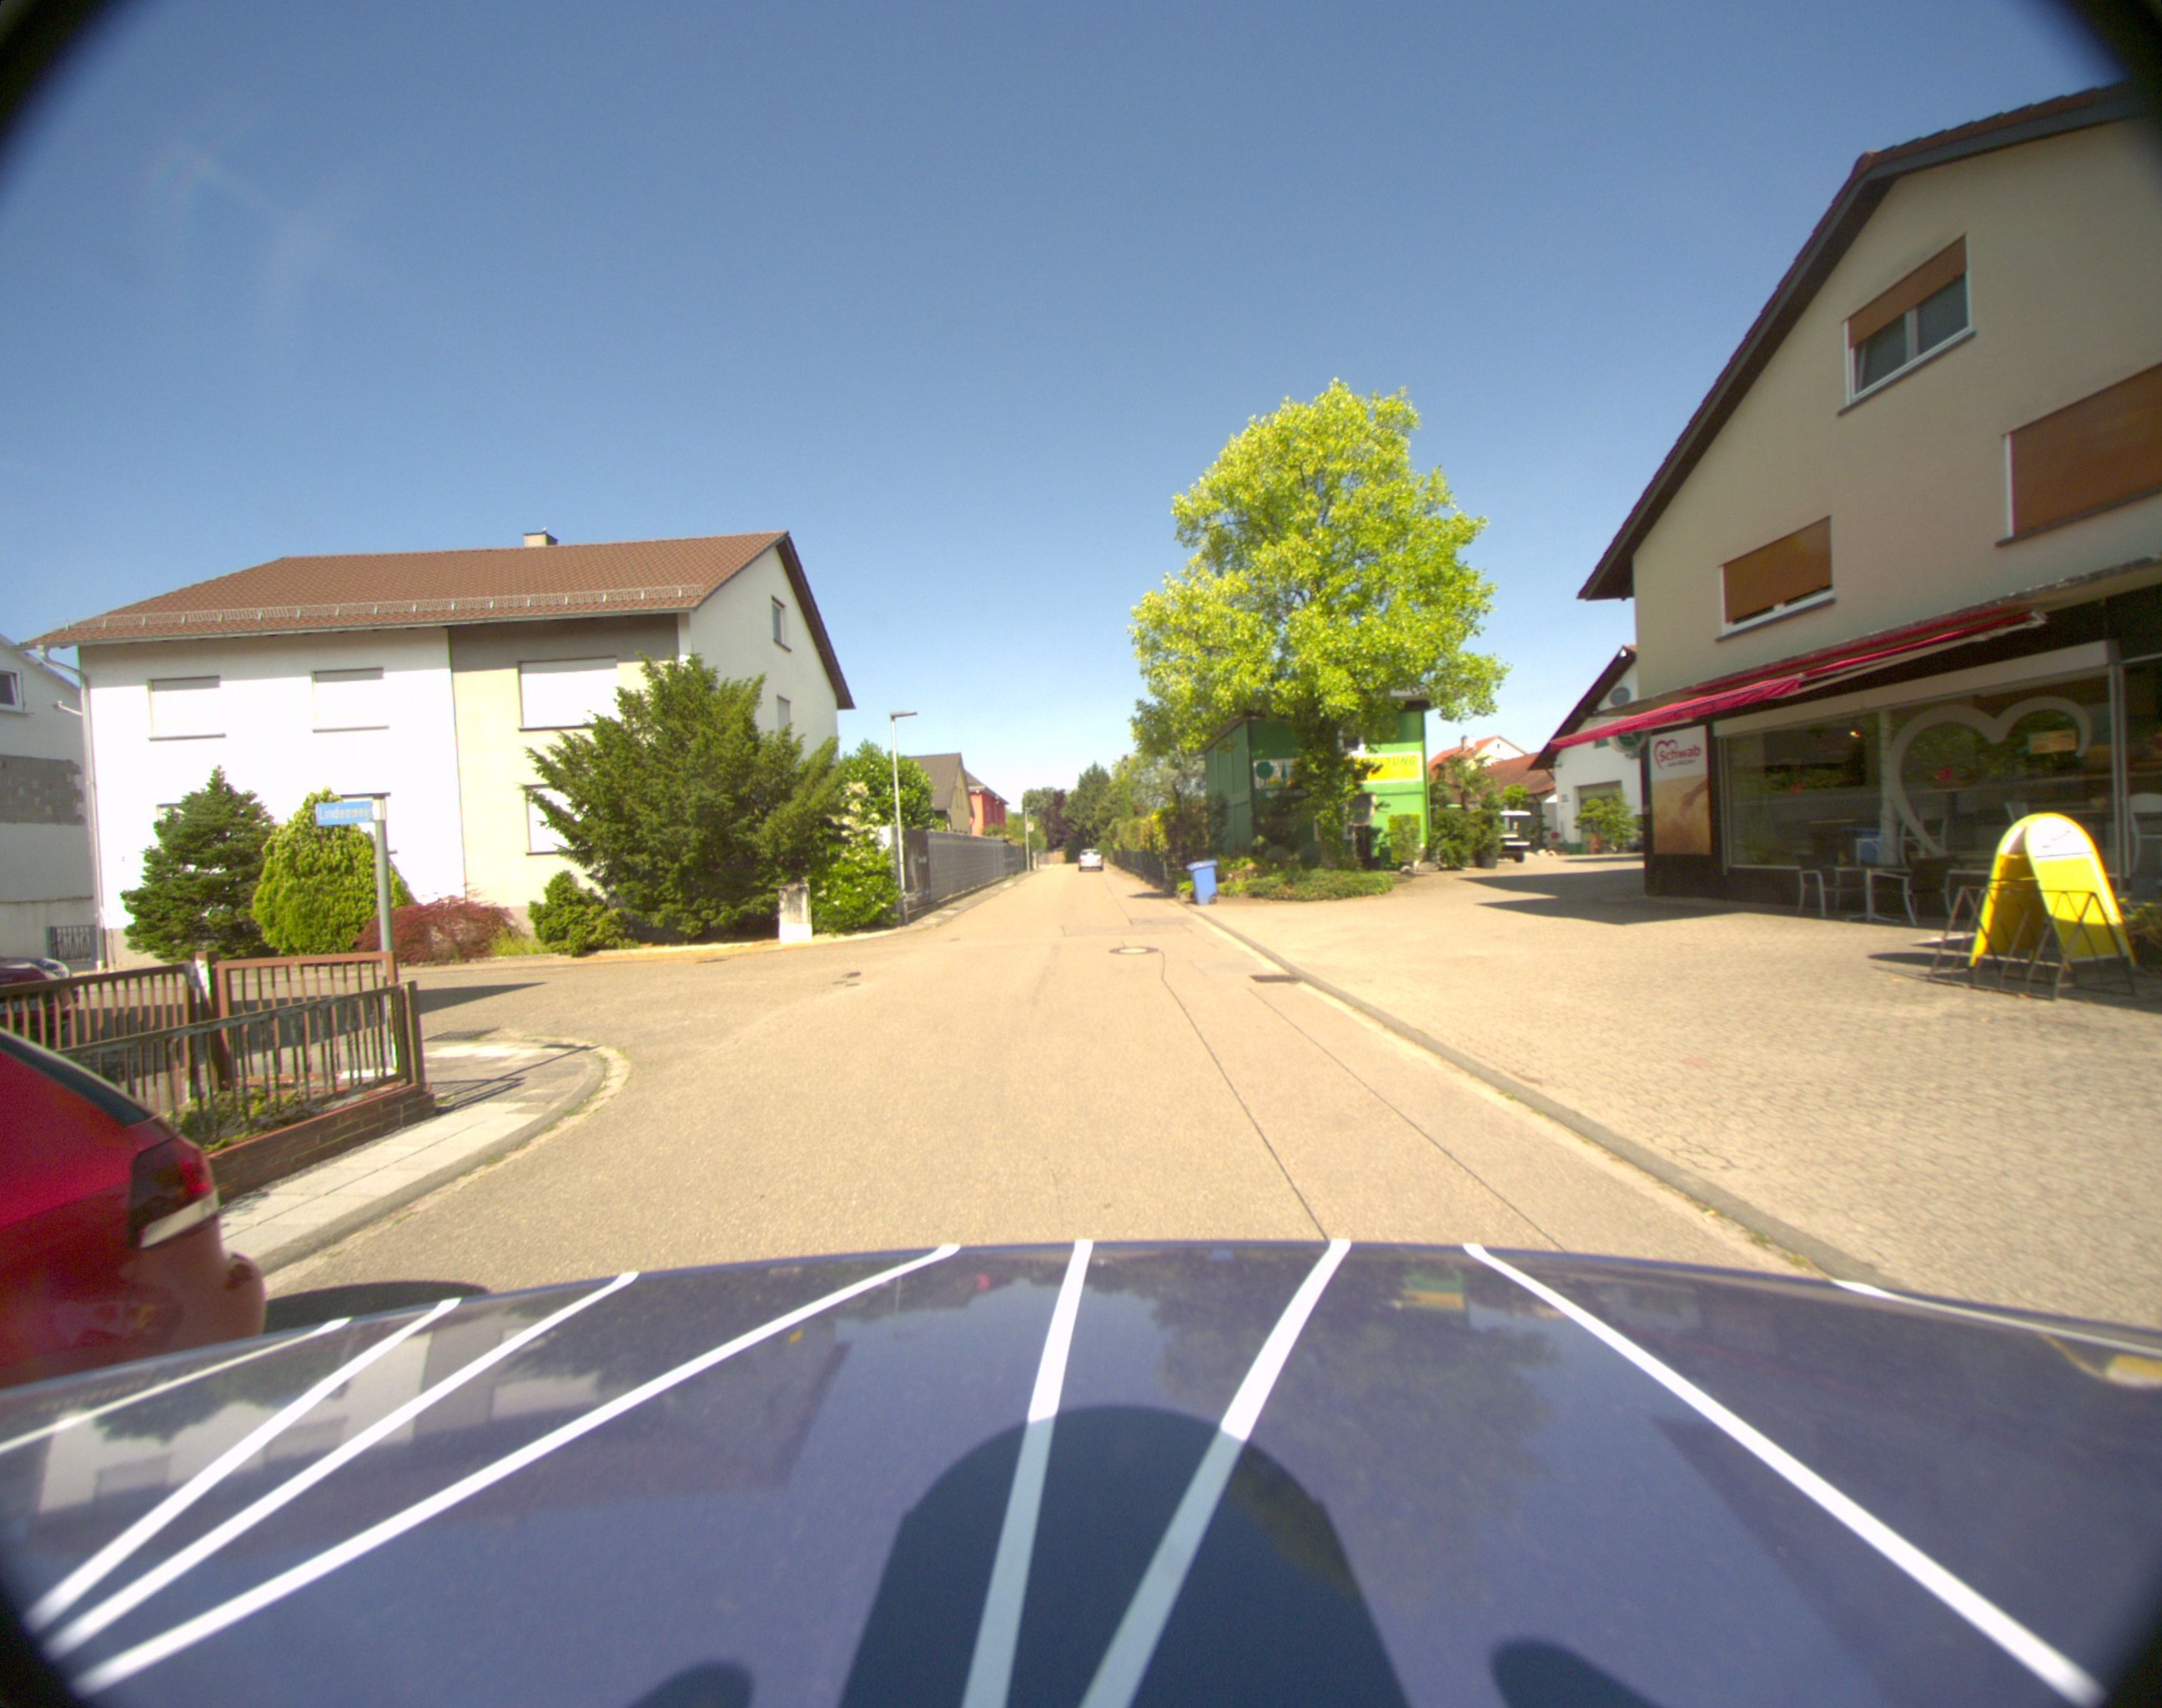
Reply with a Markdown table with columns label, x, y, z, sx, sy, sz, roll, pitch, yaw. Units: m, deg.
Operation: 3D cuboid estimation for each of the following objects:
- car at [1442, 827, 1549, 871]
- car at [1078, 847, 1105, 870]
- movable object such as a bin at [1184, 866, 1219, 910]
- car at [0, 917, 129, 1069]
| label | x | y | z | sx | sy | sz | roll | pitch | yaw |
| --- | --- | --- | --- | --- | --- | --- | --- | --- | --- |
| car | 15.643 | -0.228 | 28.949 | 1.861 | 1.439 | 3.999 | -4 | 1 | 1 |
| car | 0.720 | 0.268 | 52.926 | 1.757 | 1.478 | 4.375 | -3 | 0 | 0 |
| movable object such as a bin | 3.051 | 0.862 | 19.316 | 0.733 | 1.048 | 0.612 | -4 | 1 | 1 |
| car | -13.567 | 1.634 | 8.288 | 3.996 | 1.521 | 1.797 | -3 | 1 | 0 |
